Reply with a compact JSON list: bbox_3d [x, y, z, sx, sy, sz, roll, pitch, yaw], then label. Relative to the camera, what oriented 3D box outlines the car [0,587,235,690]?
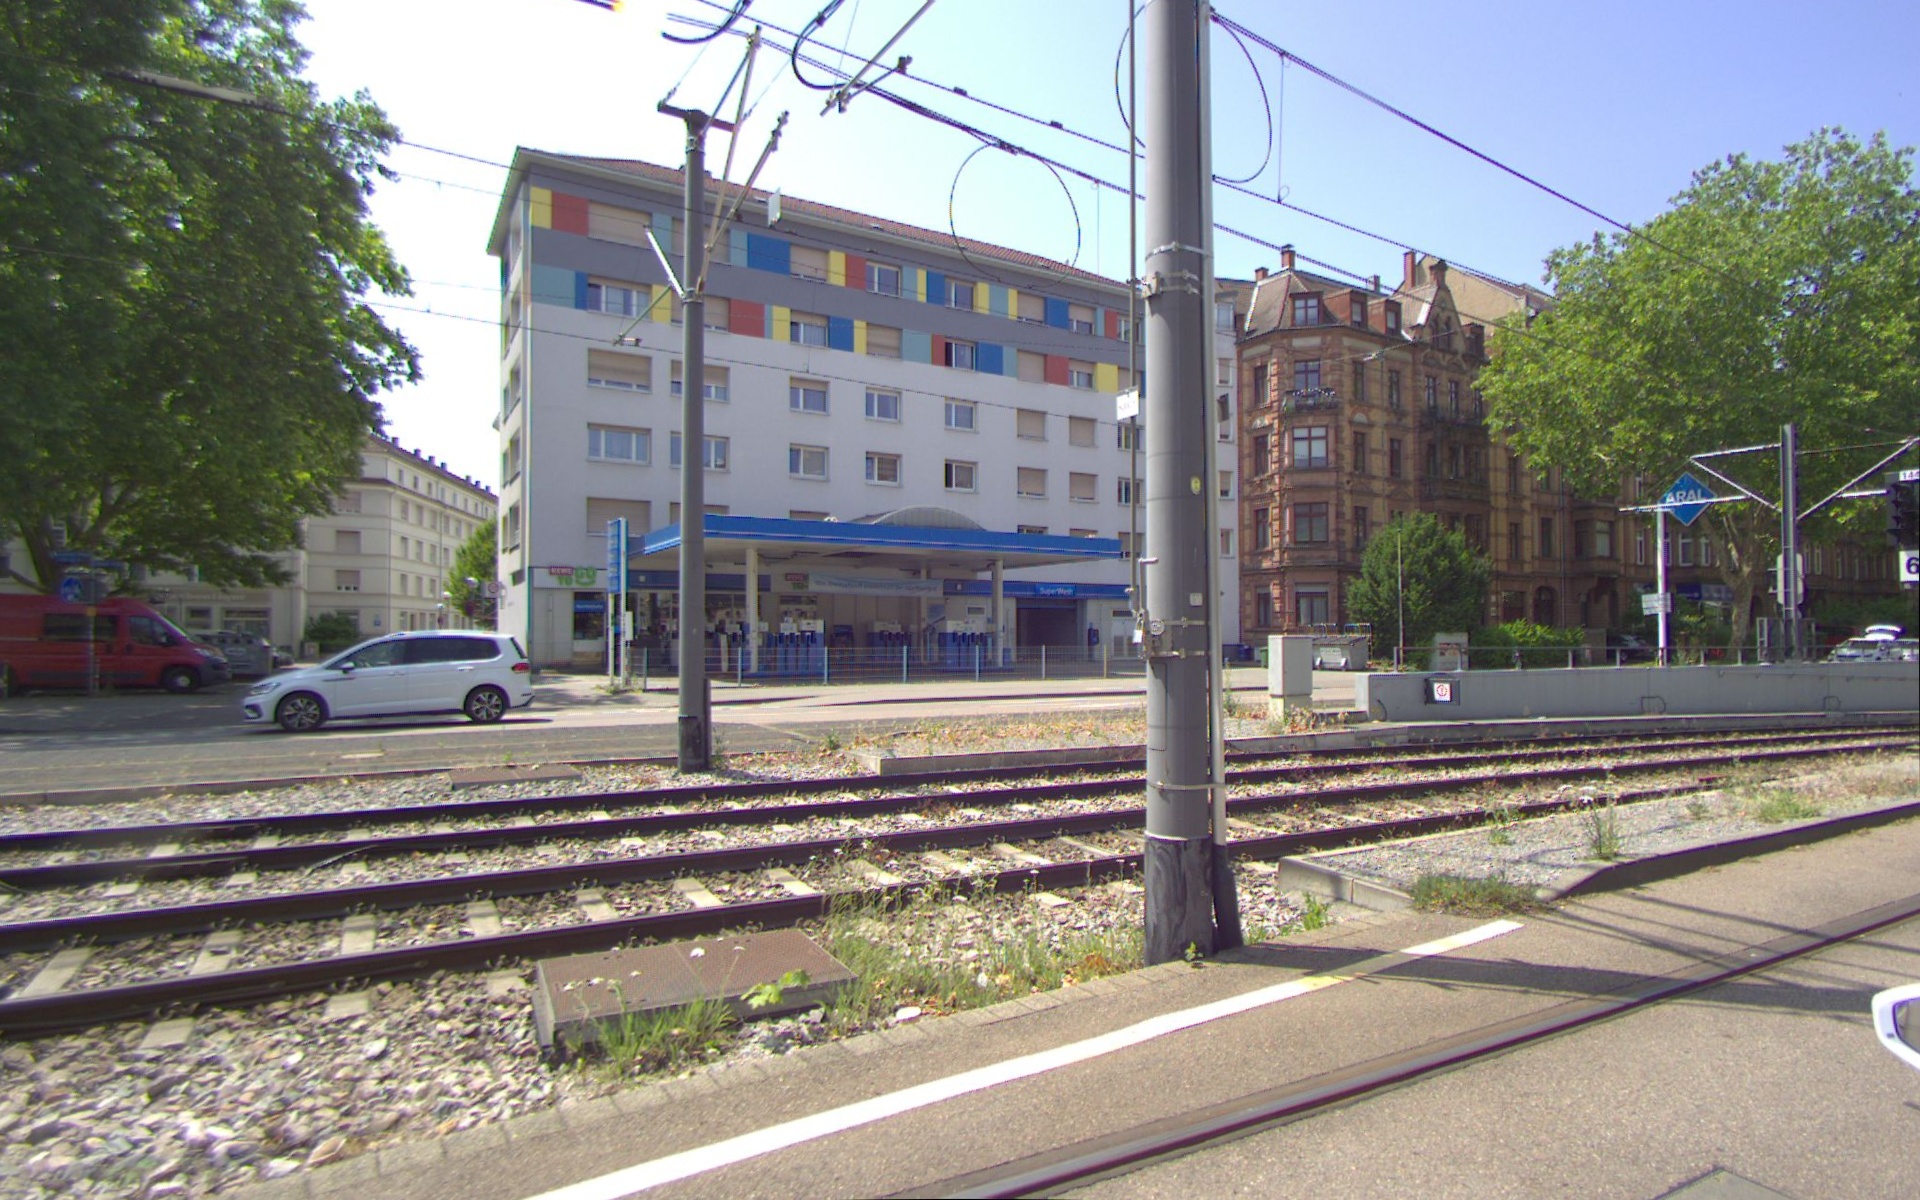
[{"bbox_3d":[-21.537,1.019,25.433,4.926,2.423,1.837,2,-4,-32],"label":"car"}]

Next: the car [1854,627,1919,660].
[{"bbox_3d":[47.039,2.184,50.720,4.041,1.577,1.780,1,-1,-32],"label":"car"}]

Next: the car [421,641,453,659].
[{"bbox_3d":[-42.641,4.045,81.941,1.701,1.349,3.738,1,-2,-18],"label":"car"}]

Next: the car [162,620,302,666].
[{"bbox_3d":[-33.095,1.936,45.826,5.058,2.016,1.904,1,-2,-36],"label":"car"}]

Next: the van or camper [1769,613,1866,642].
[{"bbox_3d":[57.167,1.829,67.064,1.905,1.861,4.532,1,-1,-24],"label":"van or camper"}]

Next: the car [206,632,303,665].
[{"bbox_3d":[-36.883,2.508,52.648,3.955,1.632,1.983,1,-2,-32],"label":"car"}]

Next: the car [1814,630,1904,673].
[{"bbox_3d":[42.982,2.428,48.003,4.665,1.929,1.983,1,-1,-32],"label":"car"}]

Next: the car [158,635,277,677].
[{"bbox_3d":[-31.651,2.356,42.967,3.958,1.631,1.852,1,-2,-34],"label":"car"}]

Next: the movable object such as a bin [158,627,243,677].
[{"bbox_3d":[-25.914,1.750,34.371,1.963,1.632,2.704,1,-2,-31],"label":"movable object such as a bin"}]

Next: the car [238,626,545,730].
[{"bbox_3d":[-9.977,1.328,17.973,4.548,1.646,1.839,1,-3,-30],"label":"car"}]

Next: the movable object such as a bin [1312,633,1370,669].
[{"bbox_3d":[15.804,2.099,41.702,1.454,1.403,1.772,1,-2,-32],"label":"movable object such as a bin"}]
